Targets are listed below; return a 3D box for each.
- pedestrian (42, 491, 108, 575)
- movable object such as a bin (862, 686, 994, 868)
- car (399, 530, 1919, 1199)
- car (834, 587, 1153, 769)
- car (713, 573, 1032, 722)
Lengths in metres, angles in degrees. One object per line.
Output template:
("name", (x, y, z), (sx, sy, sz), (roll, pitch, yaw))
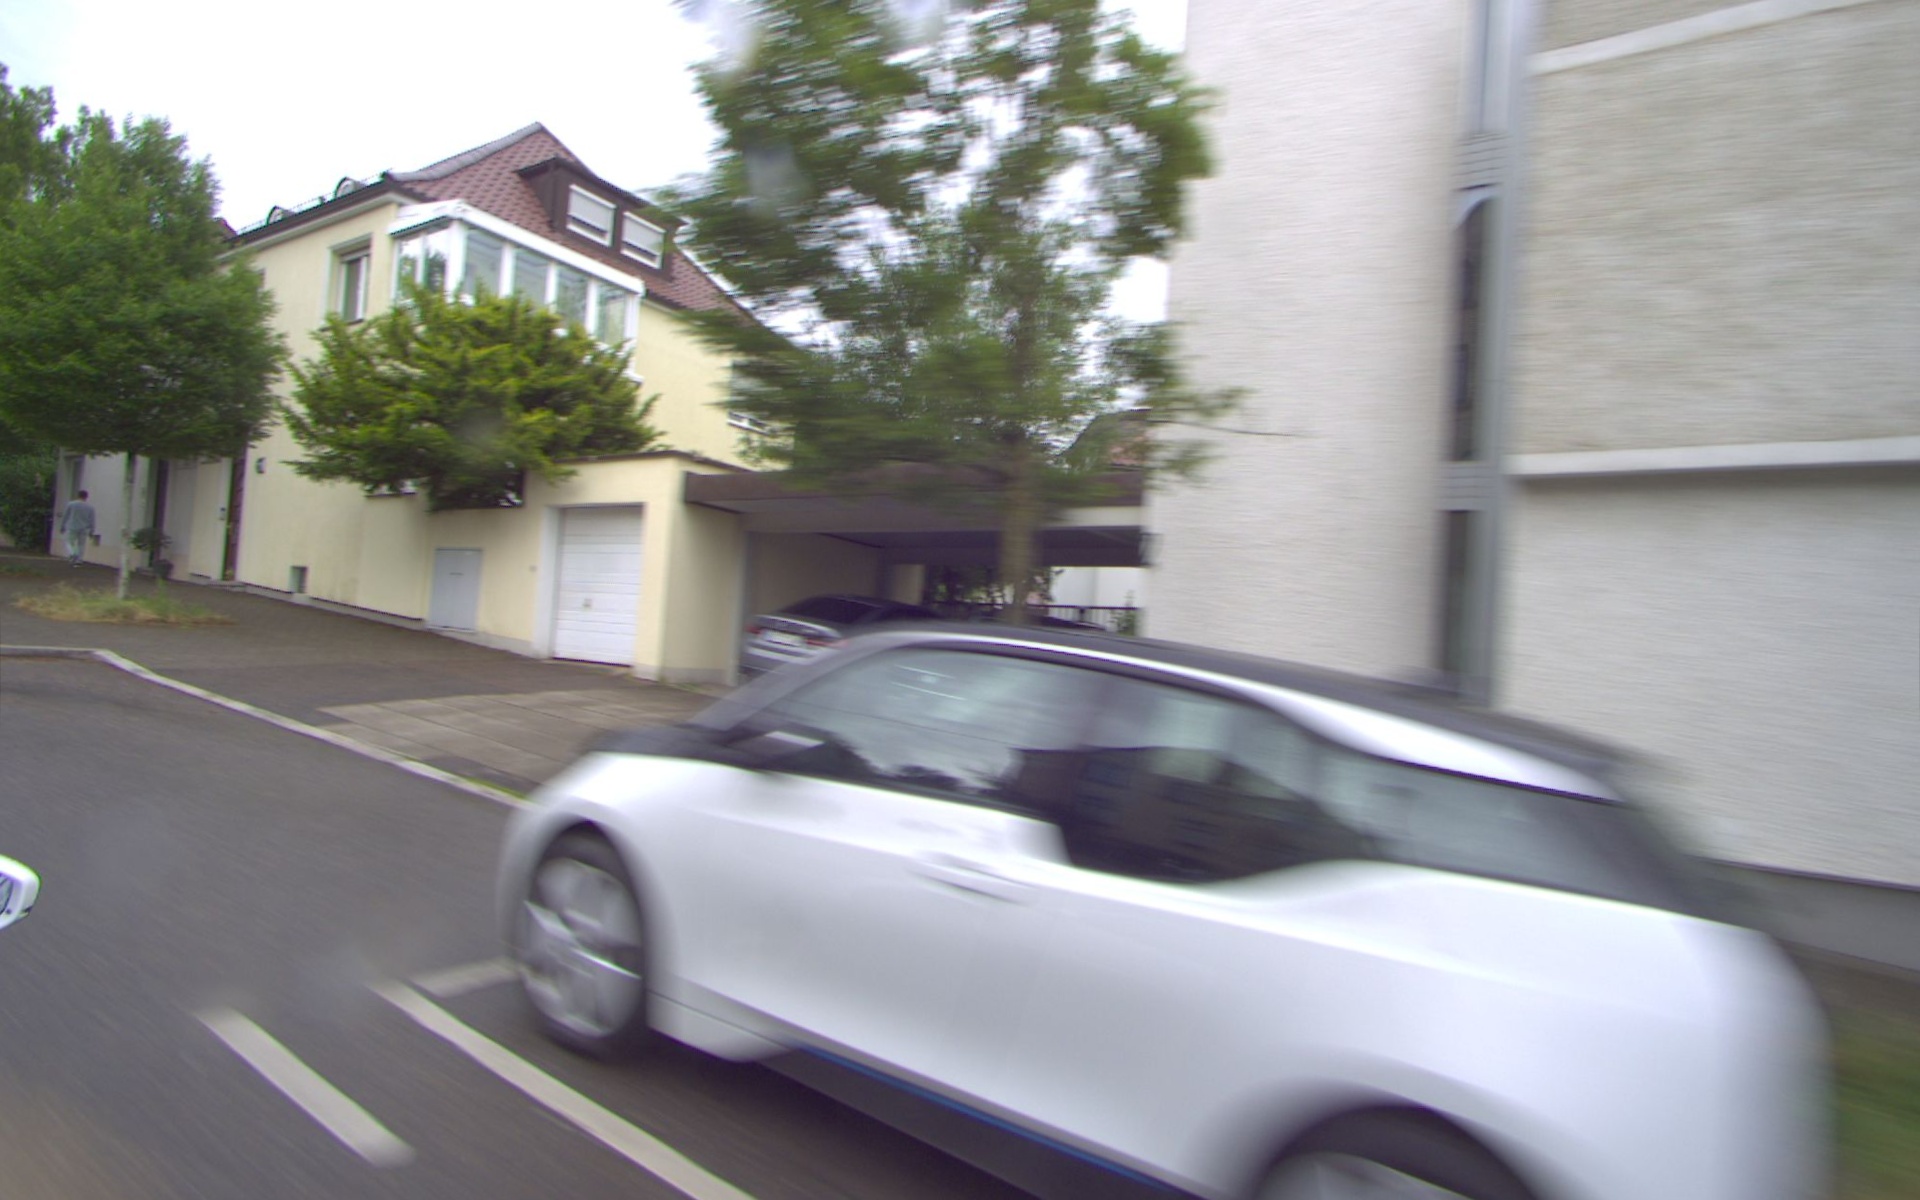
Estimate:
("pedestrian", (-19.476, -1.475, 22.139), (1.028, 1.709, 0.832), (7, 3, 35))
("movable object such as a bin", (-0.204, 1.081, 6.327), (0.596, 0.988, 0.484), (7, 4, 40))
("car", (0.213, 0.845, 3.324), (4.051, 1.626, 1.733), (7, -2, 32))
("car", (0.546, 0.882, 11.341), (1.754, 1.525, 3.704), (7, -1, 34))
("car", (-0.971, 0.723, 13.435), (1.801, 1.497, 4.303), (7, -1, 34))
